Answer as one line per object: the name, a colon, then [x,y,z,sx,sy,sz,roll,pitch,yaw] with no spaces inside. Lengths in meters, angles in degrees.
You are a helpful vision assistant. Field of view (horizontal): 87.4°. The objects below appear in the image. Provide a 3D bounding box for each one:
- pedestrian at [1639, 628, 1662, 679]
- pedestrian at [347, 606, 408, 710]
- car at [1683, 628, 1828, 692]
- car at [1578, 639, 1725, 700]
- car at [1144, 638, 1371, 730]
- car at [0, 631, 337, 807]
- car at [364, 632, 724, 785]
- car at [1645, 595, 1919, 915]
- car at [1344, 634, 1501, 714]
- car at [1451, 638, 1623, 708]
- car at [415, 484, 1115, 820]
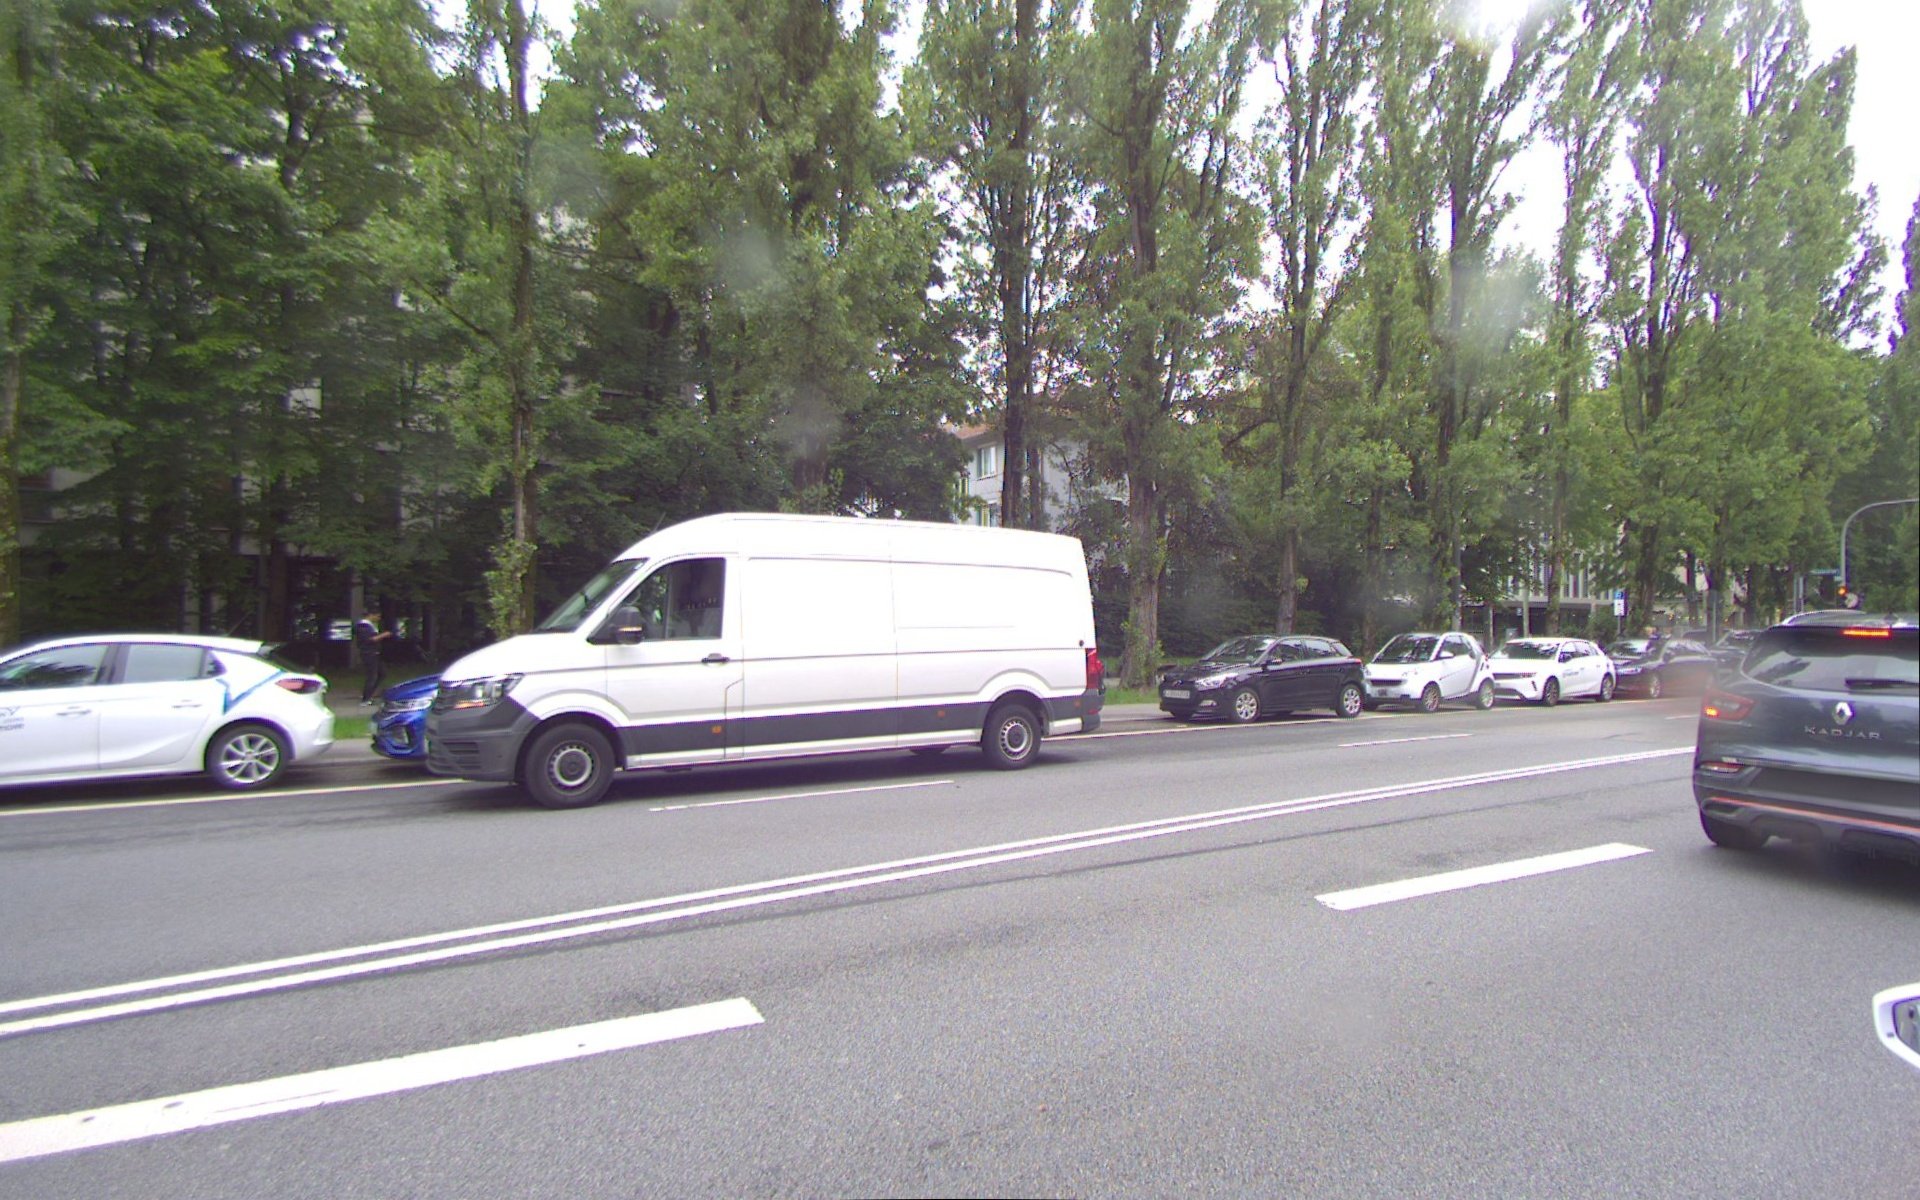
pedestrian: [21.367,1.643,31.065,0.390,1.548,0.463,1,-1,-30]
pedestrian: [-10.330,1.013,17.839,0.879,1.795,0.733,1,0,-30]
car: [22.444,1.659,28.288,4.646,1.675,1.838,1,-4,-34]
car: [17.409,1.705,25.247,4.123,1.407,1.614,1,-4,-34]
car: [5.218,1.413,17.513,3.805,1.444,1.594,1,-4,-30]
car: [-8.229,1.047,9.280,4.187,1.471,1.761,1,-4,-33]
car: [-4.670,1.130,11.395,3.547,1.470,1.700,1,-4,-33]
car: [6.471,0.823,6.453,4.136,1.607,1.826,1,0,-30]
car: [9.217,1.446,19.998,2.932,1.466,1.420,1,-4,-32]
car: [12.834,1.571,22.272,4.123,1.407,1.614,1,-4,-34]
car: [-1.701,0.500,10.267,6.683,2.515,2.216,1,-3,-32]
